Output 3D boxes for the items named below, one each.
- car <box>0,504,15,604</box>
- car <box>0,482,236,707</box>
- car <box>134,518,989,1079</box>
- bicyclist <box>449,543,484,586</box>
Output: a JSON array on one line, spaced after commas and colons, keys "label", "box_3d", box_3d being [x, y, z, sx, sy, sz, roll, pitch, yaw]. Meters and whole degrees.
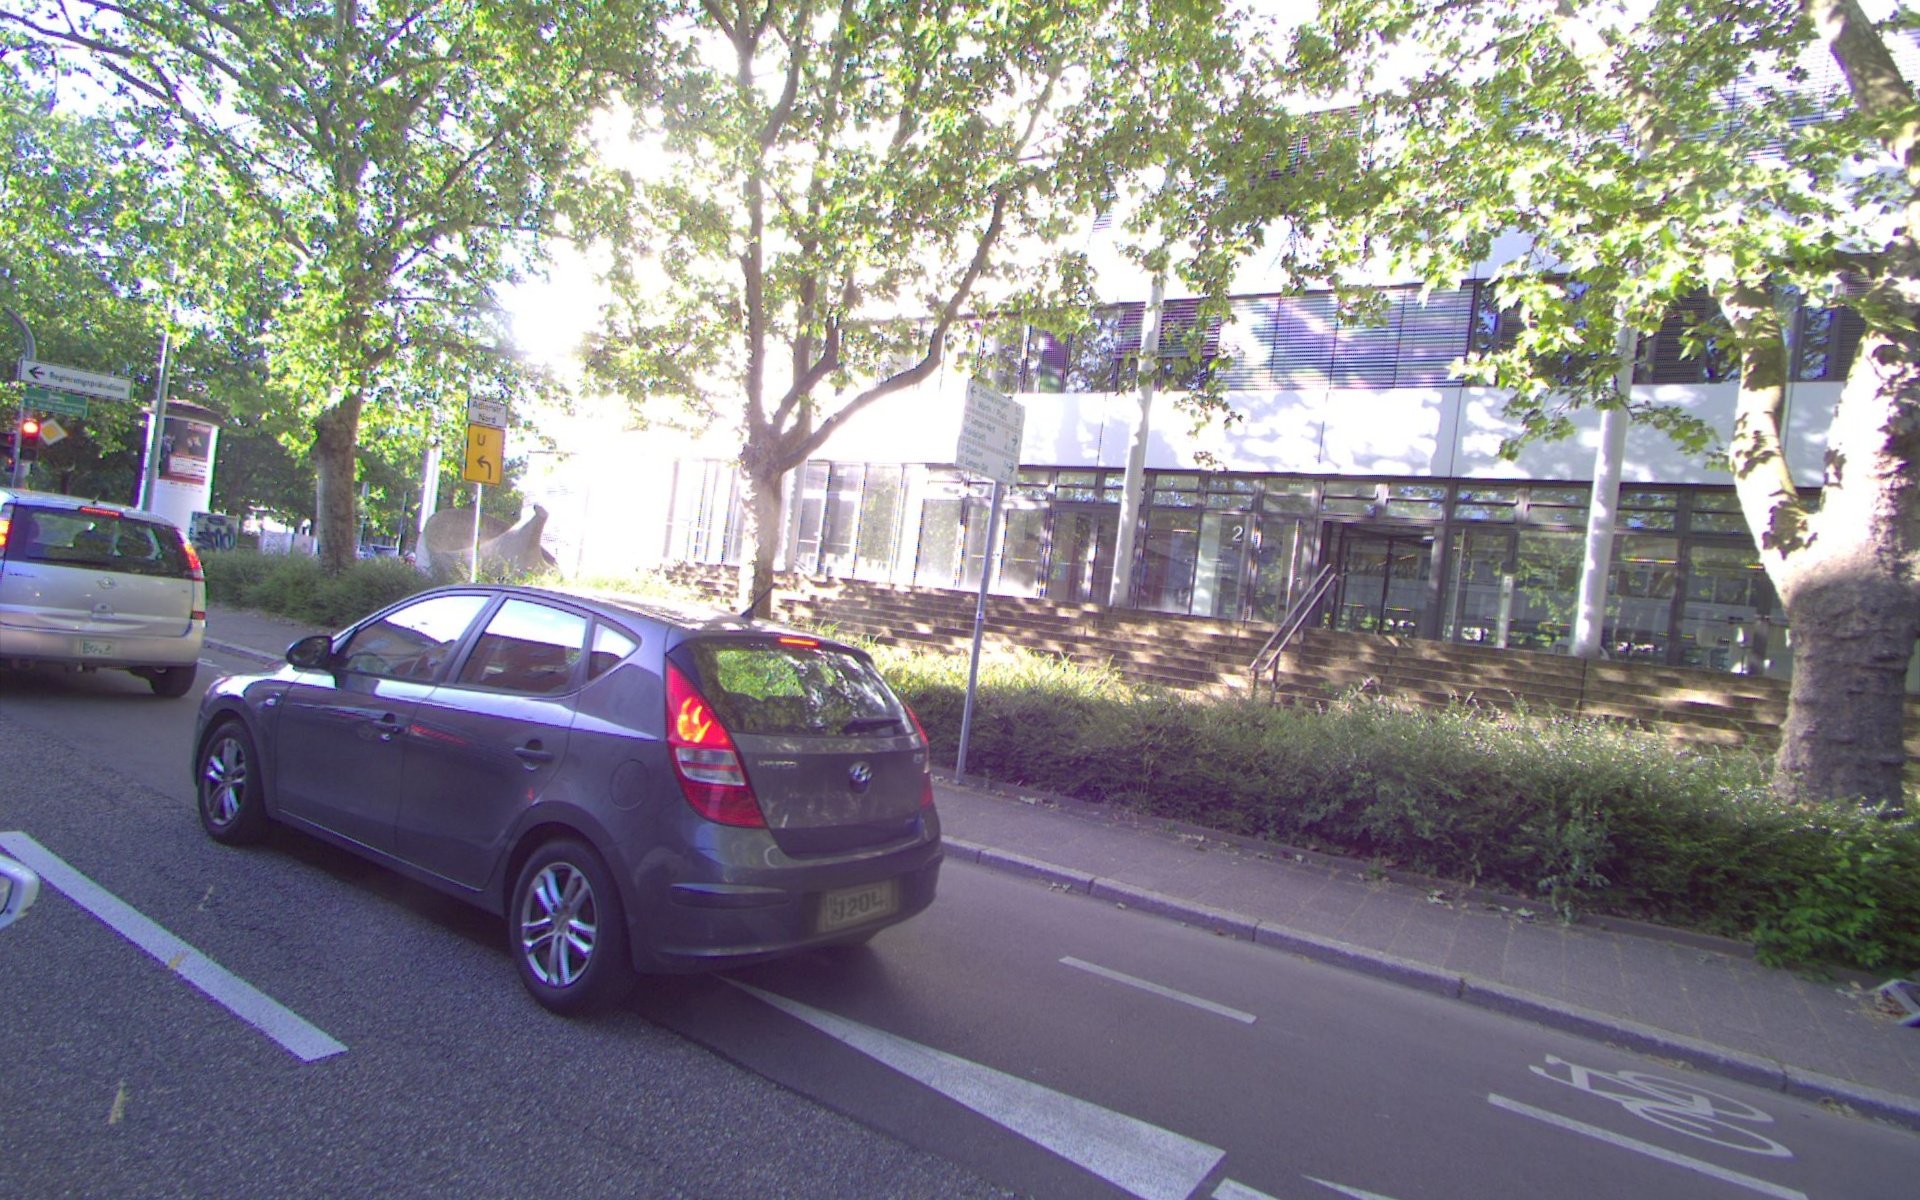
[{"label": "car", "box_3d": [-14.009, -0.733, 12.608, 4.592, 1.481, 1.917, 7, -2, 32]}, {"label": "car", "box_3d": [-8.409, -0.166, 9.043, 3.797, 1.620, 1.705, 7, -3, 34]}, {"label": "car", "box_3d": [-2.034, 0.596, 4.791, 3.910, 1.499, 1.647, 7, -1, 32]}, {"label": "bicyclist", "box_3d": [-20.952, -1.494, 42.726, 0.597, 1.662, 1.017, 7, -1, 26]}]
